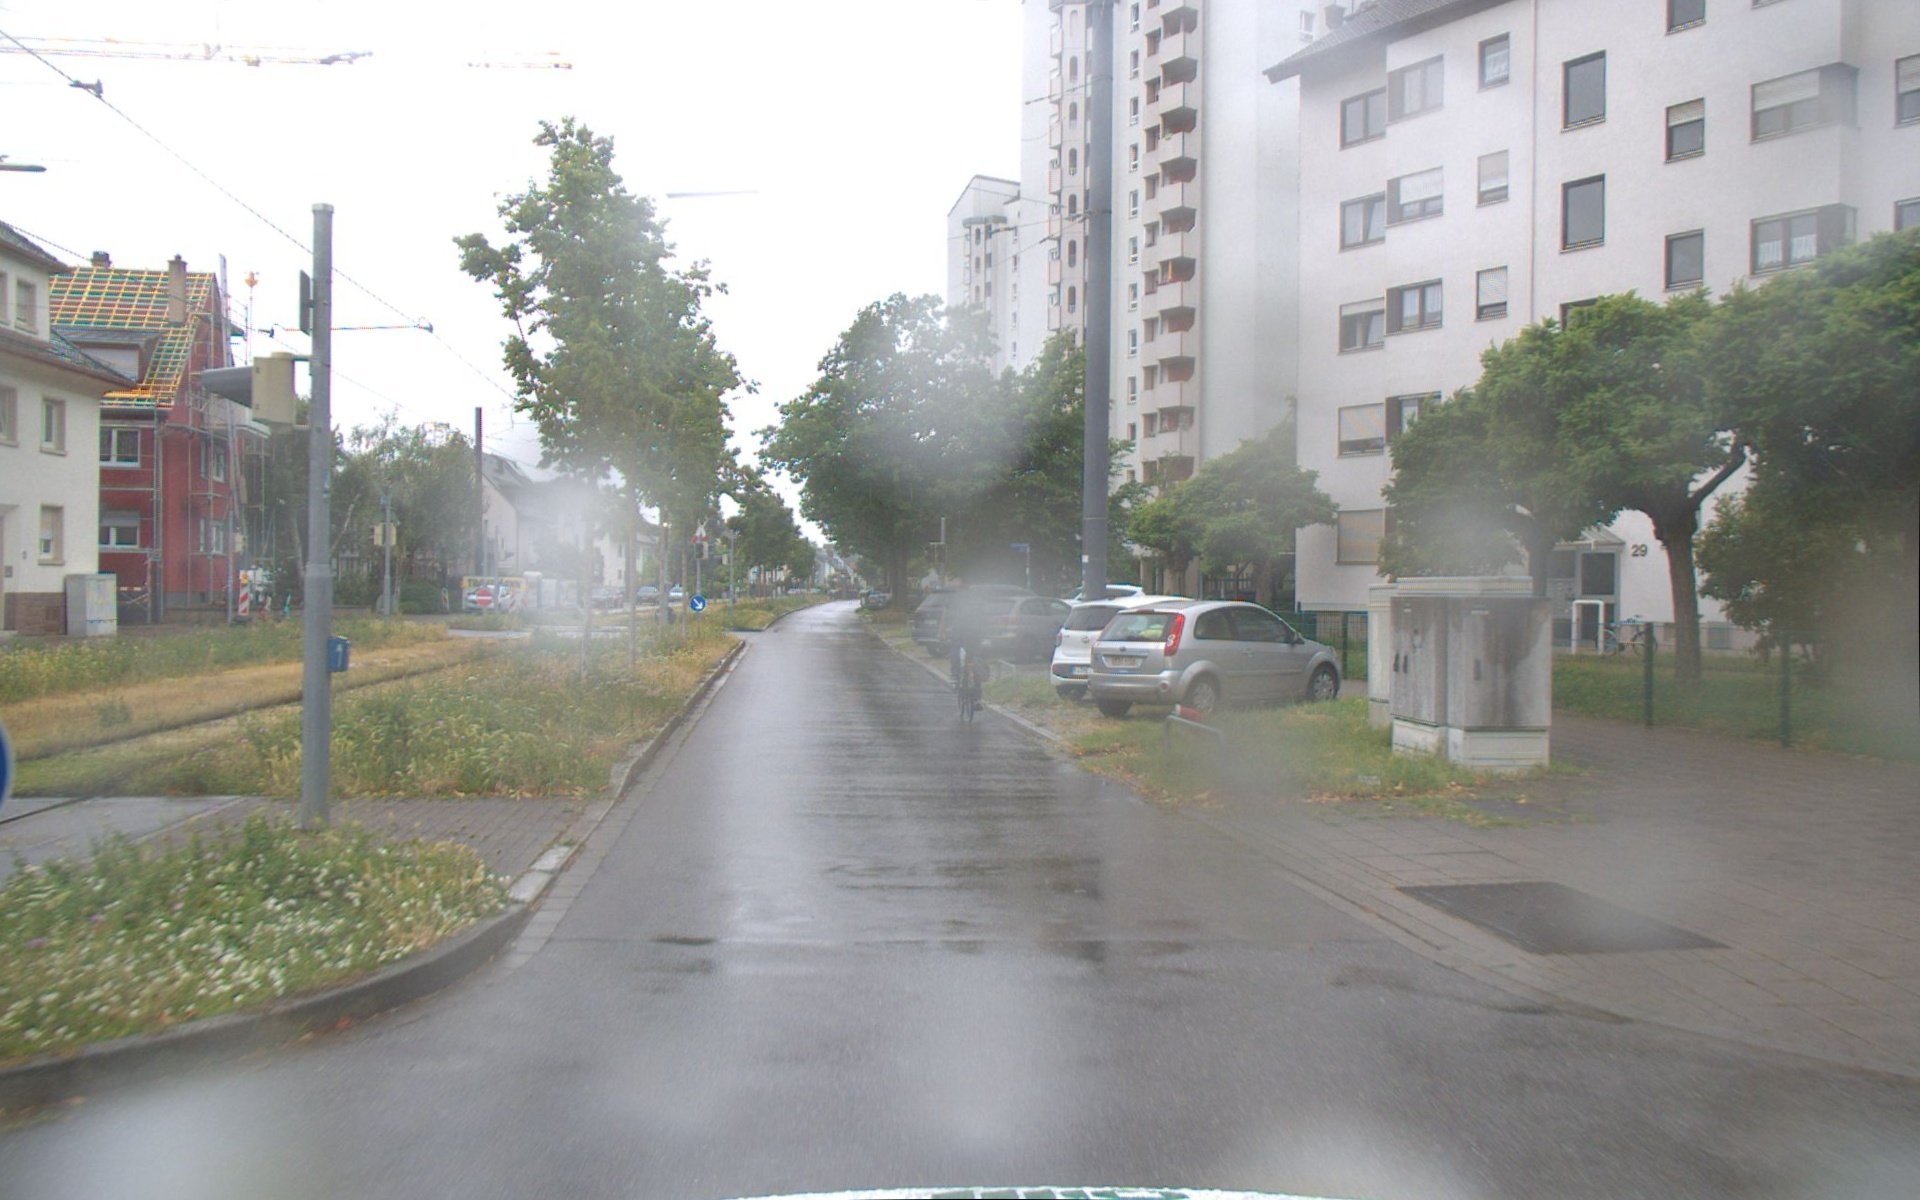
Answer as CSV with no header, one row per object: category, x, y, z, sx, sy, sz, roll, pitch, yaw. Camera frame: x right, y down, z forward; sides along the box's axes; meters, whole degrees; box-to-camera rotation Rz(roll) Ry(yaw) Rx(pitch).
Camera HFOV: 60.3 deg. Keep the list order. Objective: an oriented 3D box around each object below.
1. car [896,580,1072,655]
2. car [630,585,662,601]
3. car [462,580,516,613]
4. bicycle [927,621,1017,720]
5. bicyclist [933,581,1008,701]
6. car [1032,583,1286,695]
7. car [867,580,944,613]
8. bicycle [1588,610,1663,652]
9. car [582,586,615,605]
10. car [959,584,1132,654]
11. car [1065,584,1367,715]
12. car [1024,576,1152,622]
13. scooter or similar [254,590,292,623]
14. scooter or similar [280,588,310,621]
car,0.629,0.368,39.690,1.826,1.680,4.321,0,1,43
car,-26.951,-0.581,142.266,1.858,1.266,4.686,3,0,-1
car,-24.696,-0.204,86.846,1.676,1.569,4.419,3,0,-3
bicycle,0.120,0.852,20.903,0.794,1.116,2.513,0,1,-8
bicyclist,0.122,0.498,20.817,0.794,1.458,1.058,0,0,-8
car,3.047,0.554,24.841,3.971,1.534,1.677,-1,-1,-45
car,-3.211,-0.201,97.899,4.103,1.749,1.974,-3,2,-36
bicycle,14.429,0.658,35.887,0.484,0.862,1.556,0,1,-31
car,-25.418,-0.311,116.419,1.630,1.266,4.069,3,0,-4
car,1.943,0.386,36.665,1.705,1.454,3.974,0,1,43
car,3.387,0.598,21.507,3.965,1.534,1.757,-1,-1,-42
car,5.109,-0.042,66.174,4.732,1.776,1.988,0,0,-20
scooter or similar,-24.057,0.228,57.952,0.431,1.149,1.282,0,0,25
scooter or similar,-24.530,0.155,61.019,0.385,1.201,1.284,0,0,10
